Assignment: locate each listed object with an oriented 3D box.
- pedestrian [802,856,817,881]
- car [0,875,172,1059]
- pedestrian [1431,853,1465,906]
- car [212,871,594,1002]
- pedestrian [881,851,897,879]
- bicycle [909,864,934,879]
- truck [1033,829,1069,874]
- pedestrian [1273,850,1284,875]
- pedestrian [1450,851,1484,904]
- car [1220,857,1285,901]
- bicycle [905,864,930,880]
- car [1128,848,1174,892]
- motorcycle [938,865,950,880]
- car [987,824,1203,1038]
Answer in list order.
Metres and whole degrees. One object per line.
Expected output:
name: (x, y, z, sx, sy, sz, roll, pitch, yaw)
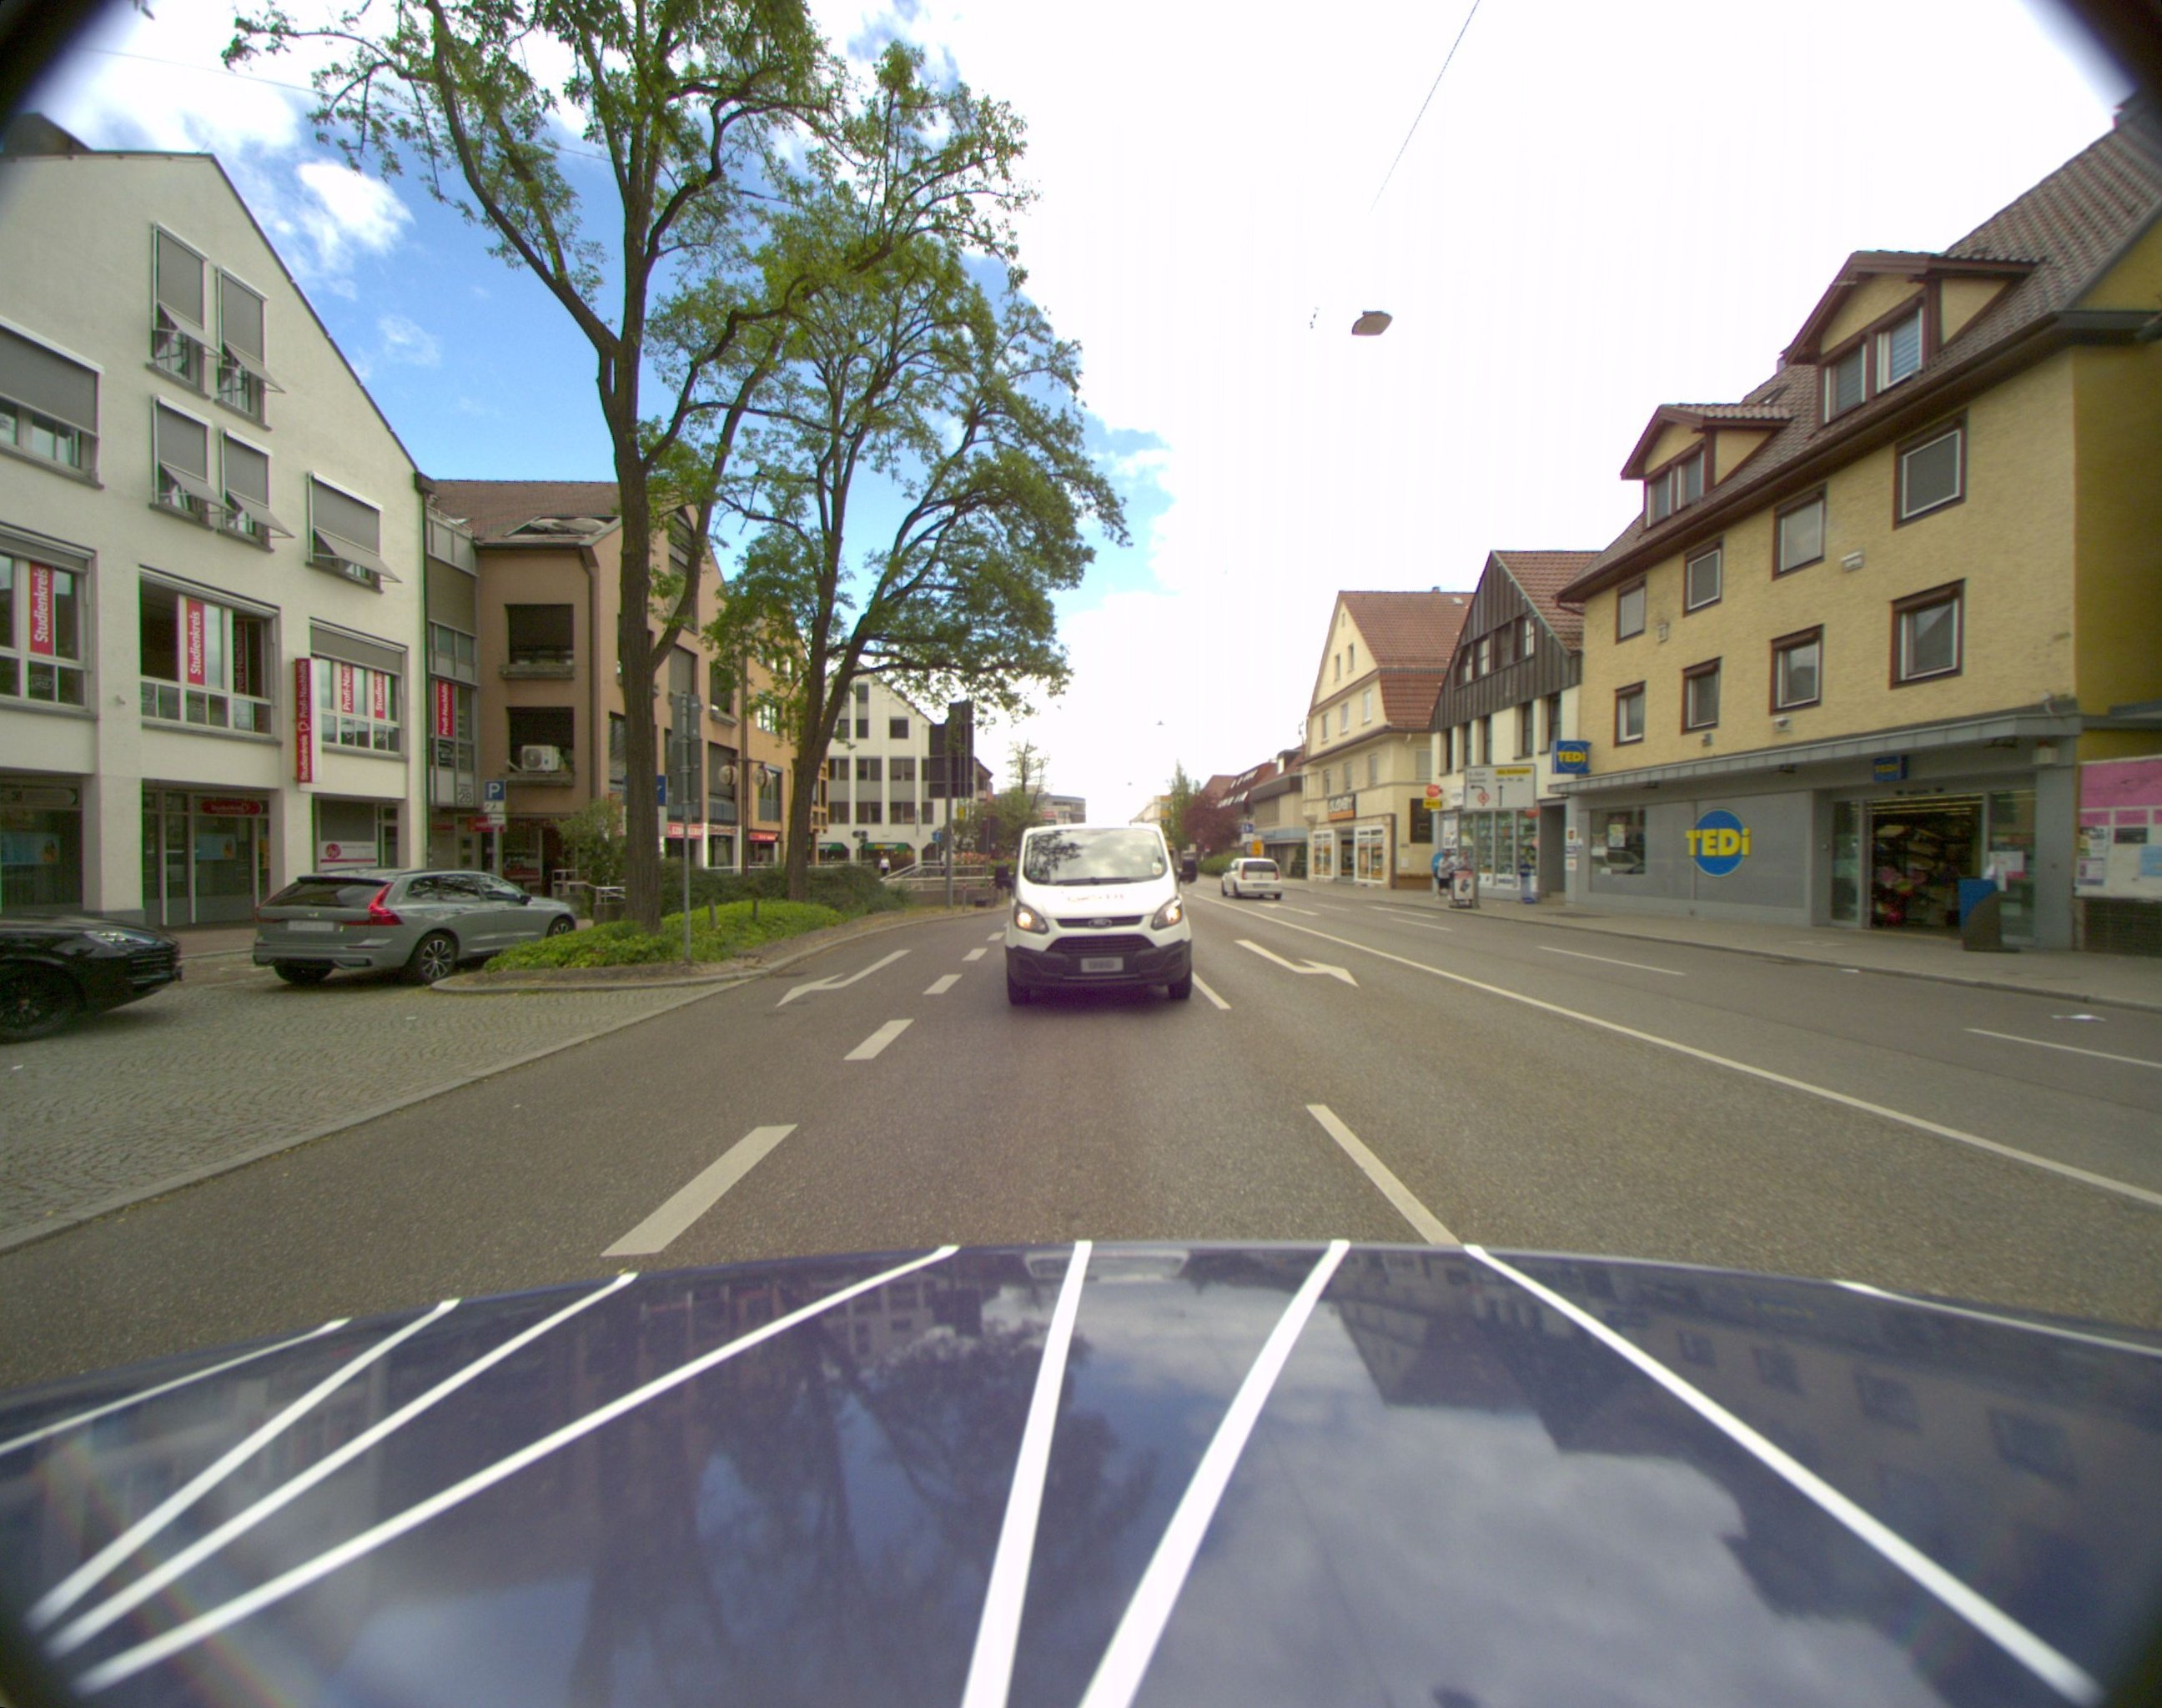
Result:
pedestrian: (-19.215, 1.023, 53.805, 0.887, 1.747, 0.943, 0, 0, -11)
car: (-11.690, 1.064, 6.693, 1.853, 1.660, 4.674, 1, 0, 41)
pedestrian: (11.814, 0.819, 24.483, 0.689, 1.680, 0.742, -1, 0, 0)
car: (-10.307, 1.119, 12.235, 1.999, 1.586, 4.762, 0, 0, -2)
pedestrian: (-12.736, 0.724, 50.447, 0.871, 1.812, 0.785, -2, 1, -4)
bicycle: (-10.365, 1.142, 49.462, 1.594, 0.963, 0.461, 0, 0, -14)
truck: (-2.420, -0.238, 63.854, 2.446, 3.464, 8.347, -2, 1, 1)
pedestrian: (15.234, 0.676, 58.588, 0.551, 1.877, 0.592, -2, 0, -4)
pedestrian: (12.663, 0.761, 24.938, 0.689, 1.660, 0.709, -3, 0, 0)
car: (6.225, 0.872, 27.909, 1.578, 1.480, 3.464, 1, 0, 0)
bicycle: (-10.499, 1.139, 48.778, 1.594, 0.996, 0.414, 0, 0, -13)
car: (3.227, 0.707, 35.934, 1.830, 1.947, 4.852, 0, 0, 1)
motorcycle: (-9.822, 1.310, 54.569, 0.464, 1.062, 1.996, 0, 0, 0)
car: (0.138, 0.720, 9.666, 1.964, 1.948, 5.164, -2, 0, 0)
